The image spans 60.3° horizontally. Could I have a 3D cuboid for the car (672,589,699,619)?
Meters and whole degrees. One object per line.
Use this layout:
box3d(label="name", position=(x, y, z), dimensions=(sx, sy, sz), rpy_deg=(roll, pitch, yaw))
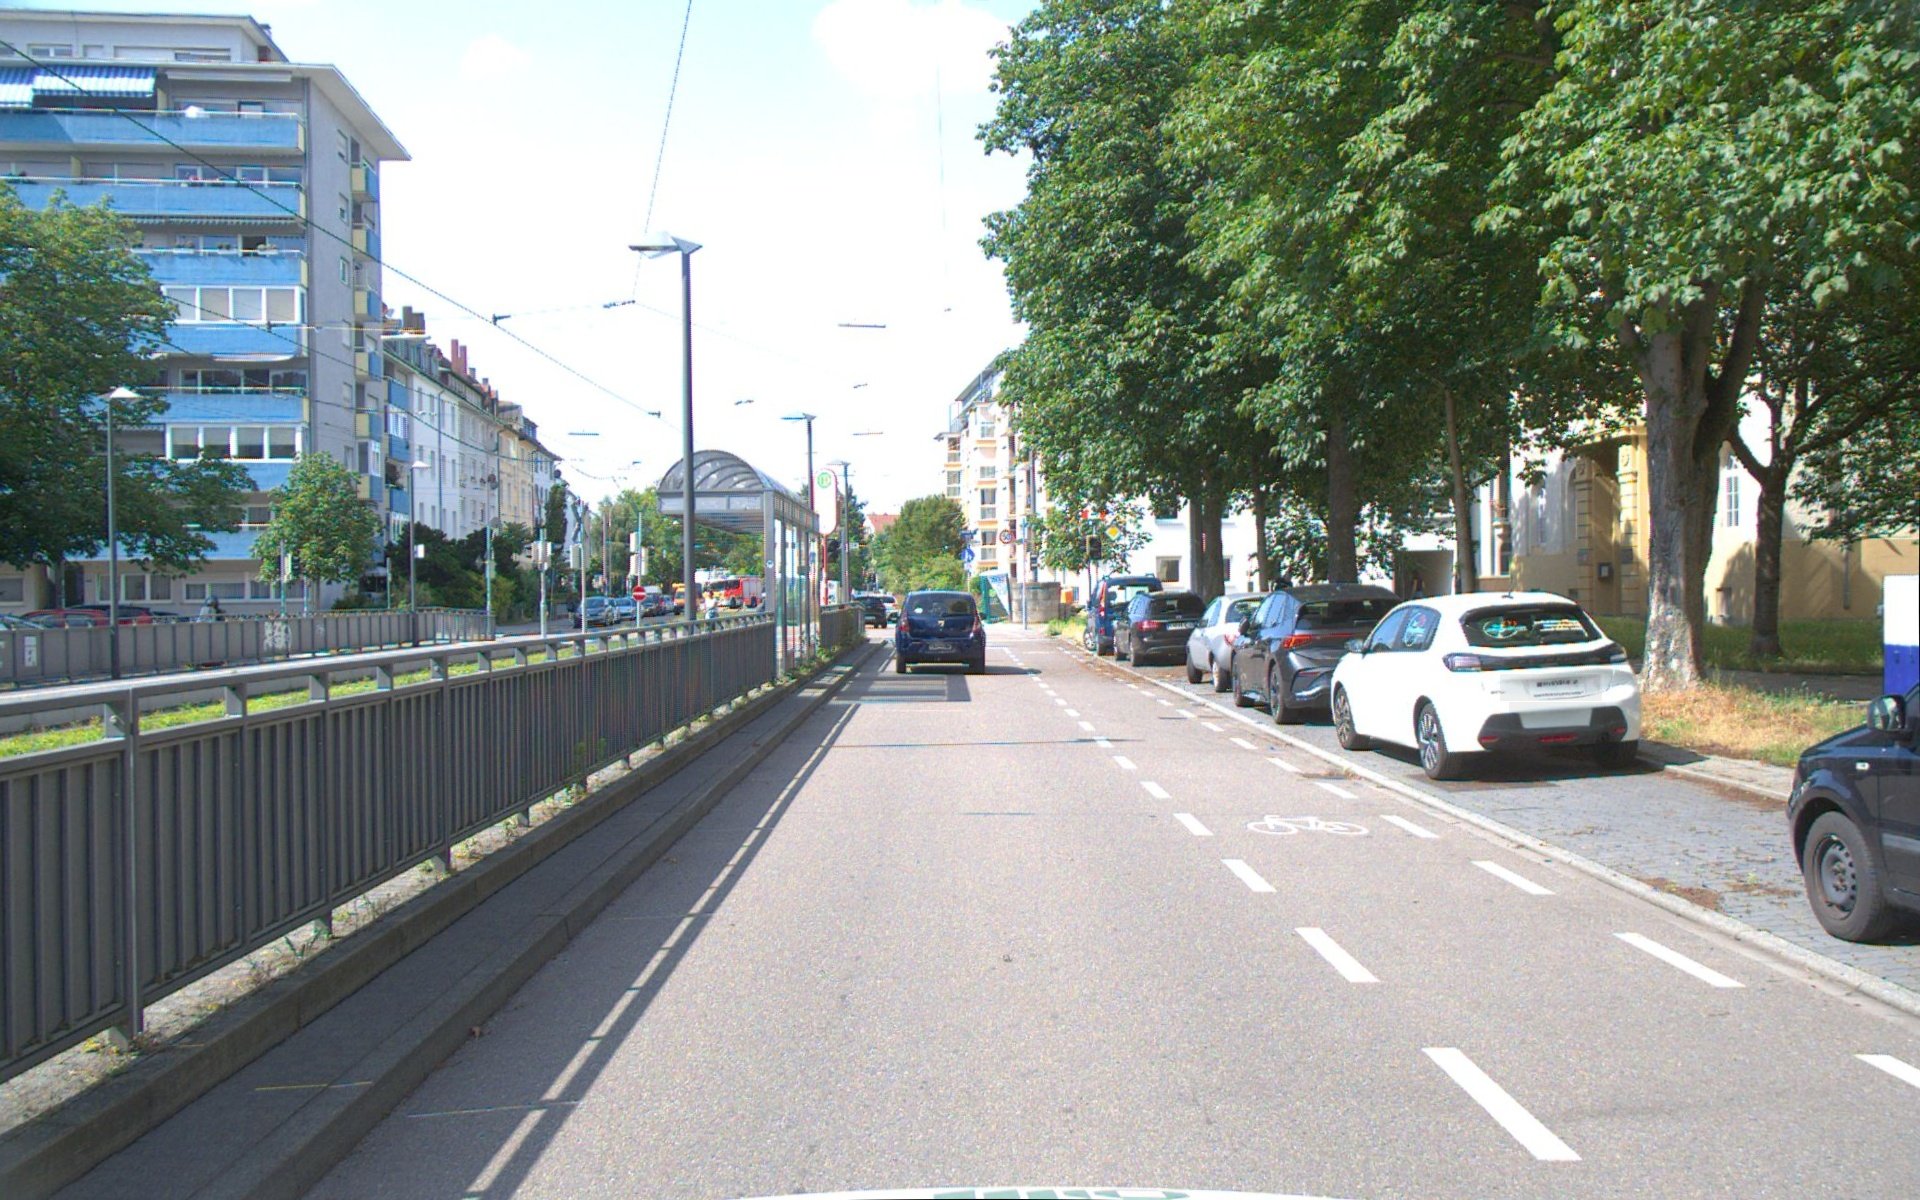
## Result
box3d(label="car", position=(-22.053, 0.321, 133.040), dimensions=(1.956, 2.315, 4.825), rpy_deg=(2, 0, -8))

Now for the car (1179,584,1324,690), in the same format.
box3d(label="car", position=(4.503, 0.543, 26.015), dimensions=(1.558, 1.470, 3.597), rpy_deg=(-3, 0, -1))

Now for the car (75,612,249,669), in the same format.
box3d(label="car", position=(-22.070, 1.090, 45.812), dimensions=(4.095, 1.418, 1.586), rpy_deg=(-2, 0, -40))

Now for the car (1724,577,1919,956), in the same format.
box3d(label="car", position=(4.609, 0.632, 6.267), dimensions=(1.525, 1.486, 3.556), rpy_deg=(-5, 0, -3))

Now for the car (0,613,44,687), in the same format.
box3d(label="car", position=(-21.720, 1.102, 35.079), dimensions=(3.974, 1.540, 1.593), rpy_deg=(-1, 0, -31))

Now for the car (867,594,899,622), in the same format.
box3d(label="car", position=(-4.202, 0.444, 90.159), dimensions=(1.590, 1.490, 3.507), rpy_deg=(1, 0, -5))

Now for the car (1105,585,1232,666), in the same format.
box3d(label="car", position=(4.323, 0.486, 35.015), dimensions=(1.879, 1.467, 4.795), rpy_deg=(-4, 1, -2))

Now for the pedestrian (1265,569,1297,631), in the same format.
box3d(label="pedestrian", position=(9.115, -0.011, 46.970), dimensions=(0.729, 1.726, 0.767), rpy_deg=(-2, 0, 0))

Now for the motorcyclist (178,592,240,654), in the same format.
box3d(label="motorcyclist", position=(-17.087, 0.521, 37.634), dimensions=(0.919, 1.362, 0.986), rpy_deg=(-2, 0, 0))

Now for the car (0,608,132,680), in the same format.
box3d(label="car", position=(-22.195, 1.055, 40.154), dimensions=(3.619, 1.606, 1.631), rpy_deg=(-1, 1, -32))

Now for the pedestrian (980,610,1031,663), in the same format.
box3d(label="pedestrian", position=(1.818, 1.446, 67.169), dimensions=(1.953, 2.049, 3.999), rpy_deg=(1, 0, 0))

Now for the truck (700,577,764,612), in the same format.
box3d(label="truck", position=(-22.310, -0.585, 162.415), dimensions=(2.542, 3.241, 8.385), rpy_deg=(-2, 0, 19))

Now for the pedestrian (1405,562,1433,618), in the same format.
box3d(label="pedestrian", position=(13.429, -0.296, 48.382), dimensions=(0.619, 1.624, 0.539), rpy_deg=(-1, 0, -4))

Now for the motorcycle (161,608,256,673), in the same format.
box3d(label="motorcycle", position=(-17.053, 0.899, 37.606), dimensions=(0.994, 1.362, 2.517), rpy_deg=(-2, 0, 0))

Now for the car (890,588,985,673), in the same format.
box3d(label="car", position=(-0.450, 0.567, 32.009), dimensions=(1.708, 1.533, 3.999), rpy_deg=(1, 0, -1))

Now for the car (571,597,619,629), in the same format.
box3d(label="car", position=(-19.745, 0.673, 89.560), dimensions=(1.954, 1.674, 3.996), rpy_deg=(1, 0, -5))

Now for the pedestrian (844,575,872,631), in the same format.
box3d(label="pedestrian", position=(-3.174, 0.088, 51.333), dimensions=(0.828, 1.697, 0.798), rpy_deg=(-1, 0, -4))

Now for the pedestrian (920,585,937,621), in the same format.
box3d(label="pedestrian", position=(-1.654, 0.149, 86.271), dimensions=(0.687, 1.820, 1.029), rpy_deg=(-4, 0, -5))

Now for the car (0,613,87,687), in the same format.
box3d(label="car", position=(-21.993, 1.156, 37.677), dimensions=(3.619, 1.606, 1.631), rpy_deg=(-1, 1, -32))

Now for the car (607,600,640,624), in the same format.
box3d(label="car", position=(-21.433, 0.740, 105.464), dimensions=(1.734, 1.467, 3.994), rpy_deg=(1, 0, -6))

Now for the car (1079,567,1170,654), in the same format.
box3d(label="car", position=(3.962, 0.212, 40.365), dimensions=(1.785, 1.929, 4.184), rpy_deg=(-2, 1, 1))

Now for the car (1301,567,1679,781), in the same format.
box3d(label="car", position=(4.577, 0.565, 15.005), dimensions=(1.799, 1.550, 4.250), rpy_deg=(-3, 0, -3))

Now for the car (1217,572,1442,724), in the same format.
box3d(label="car", position=(4.447, 0.512, 20.603), dimensions=(1.690, 1.611, 4.677), rpy_deg=(-2, 0, 0))
